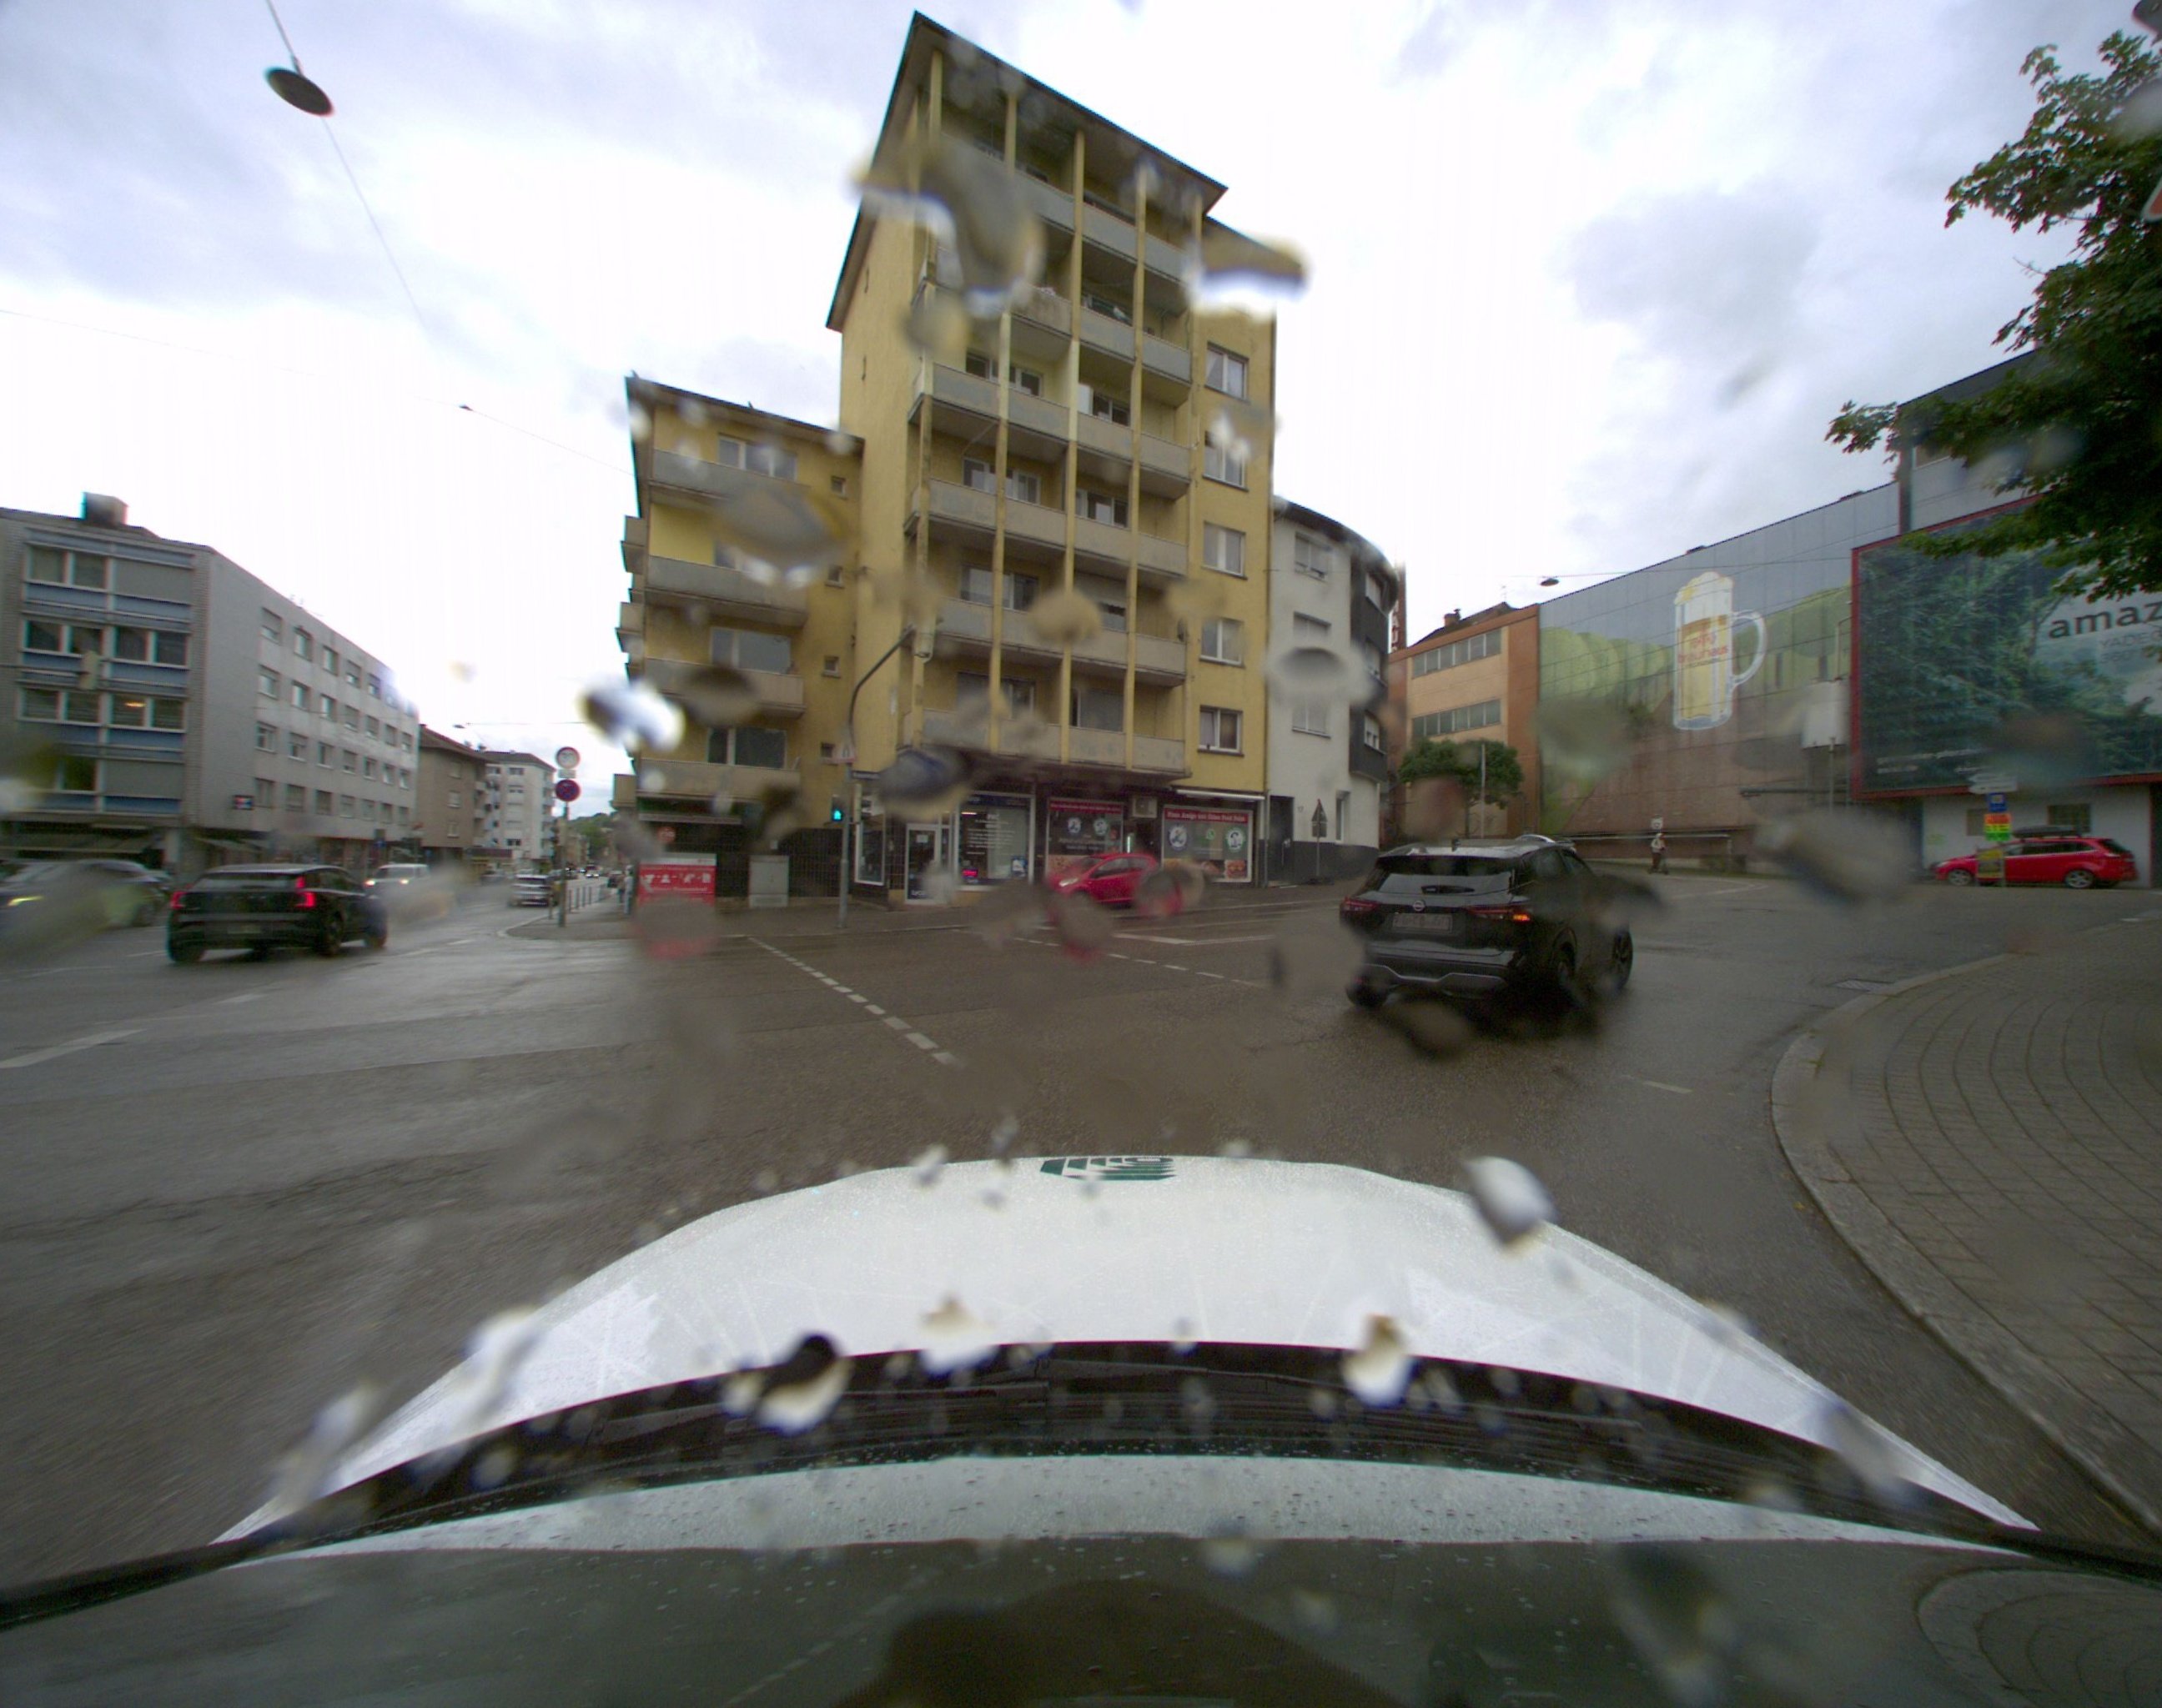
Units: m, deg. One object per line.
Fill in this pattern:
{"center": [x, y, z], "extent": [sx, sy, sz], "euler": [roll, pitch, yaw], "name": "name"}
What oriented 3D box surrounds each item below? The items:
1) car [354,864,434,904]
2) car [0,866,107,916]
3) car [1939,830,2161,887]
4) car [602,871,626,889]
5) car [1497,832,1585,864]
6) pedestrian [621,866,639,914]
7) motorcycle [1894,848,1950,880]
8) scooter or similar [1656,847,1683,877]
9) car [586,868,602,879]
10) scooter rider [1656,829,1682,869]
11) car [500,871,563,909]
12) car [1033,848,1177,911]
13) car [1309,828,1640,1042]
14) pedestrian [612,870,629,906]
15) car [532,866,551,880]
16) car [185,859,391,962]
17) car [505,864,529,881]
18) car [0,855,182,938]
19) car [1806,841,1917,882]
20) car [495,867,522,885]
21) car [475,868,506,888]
{"center": [-34.393, 1.462, 40.896], "extent": [1.994, 1.855, 4.196], "euler": [0, -1, -25], "name": "car"}
{"center": [-33.053, 1.108, 25.386], "extent": [1.726, 1.427, 3.863], "euler": [2, -2, -22], "name": "car"}
{"center": [32.101, 0.146, 27.130], "extent": [1.932, 1.711, 4.463], "euler": [1, 0, -19], "name": "car"}
{"center": [-47.529, 2.627, 82.878], "extent": [1.996, 1.703, 4.528], "euler": [2, -2, -29], "name": "car"}
{"center": [27.231, -0.414, 48.457], "extent": [1.853, 1.617, 4.901], "euler": [1, 3, -10], "name": "car"}
{"center": [-15.949, 1.265, 28.819], "extent": [0.501, 1.675, 0.552], "euler": [2, -2, -29], "name": "pedestrian"}
{"center": [31.611, 0.363, 30.620], "extent": [0.453, 1.160, 1.409], "euler": [2, -1, -32], "name": "motorcycle"}
{"center": [26.981, 0.371, 37.355], "extent": [0.794, 1.322, 1.417], "euler": [-1, 0, 27], "name": "scooter or similar"}
{"center": [-85.984, 3.478, 143.863], "extent": [2.138, 1.855, 4.194], "euler": [0, -1, -26], "name": "car"}
{"center": [26.987, -0.217, 37.390], "extent": [0.794, 1.821, 0.786], "euler": [-1, -1, 27], "name": "scooter rider"}
{"center": [-26.000, 1.660, 38.683], "extent": [1.996, 1.703, 4.528], "euler": [2, -2, -29], "name": "car"}
{"center": [0.647, 0.631, 21.823], "extent": [3.543, 1.464, 1.600], "euler": [-1, 2, -28], "name": "car"}
{"center": [4.097, 0.614, 8.135], "extent": [1.863, 1.594, 3.944], "euler": [0, 0, 43], "name": "car"}
{"center": [-21.613, 1.581, 38.233], "extent": [0.660, 1.675, 0.697], "euler": [2, -2, -29], "name": "pedestrian"}
{"center": [-74.972, 2.581, 113.177], "extent": [1.997, 1.855, 4.189], "euler": [0, -1, -30], "name": "car"}
{"center": [-13.587, 0.868, 14.236], "extent": [1.807, 1.510, 3.959], "euler": [0, -1, -33], "name": "car"}
{"center": [-67.343, 2.197, 97.258], "extent": [1.997, 1.855, 4.189], "euler": [0, -1, -30], "name": "car"}
{"center": [-23.538, 0.923, 18.853], "extent": [1.994, 1.703, 4.533], "euler": [0, -1, -25], "name": "car"}
{"center": [31.885, 0.276, 33.285], "extent": [3.996, 1.533, 1.861], "euler": [-1, 1, -23], "name": "car"}
{"center": [-59.604, 2.265, 84.828], "extent": [1.997, 1.855, 4.189], "euler": [0, -1, -30], "name": "car"}
{"center": [-57.312, 2.265, 79.073], "extent": [1.997, 1.855, 4.189], "euler": [0, -1, -30], "name": "car"}
